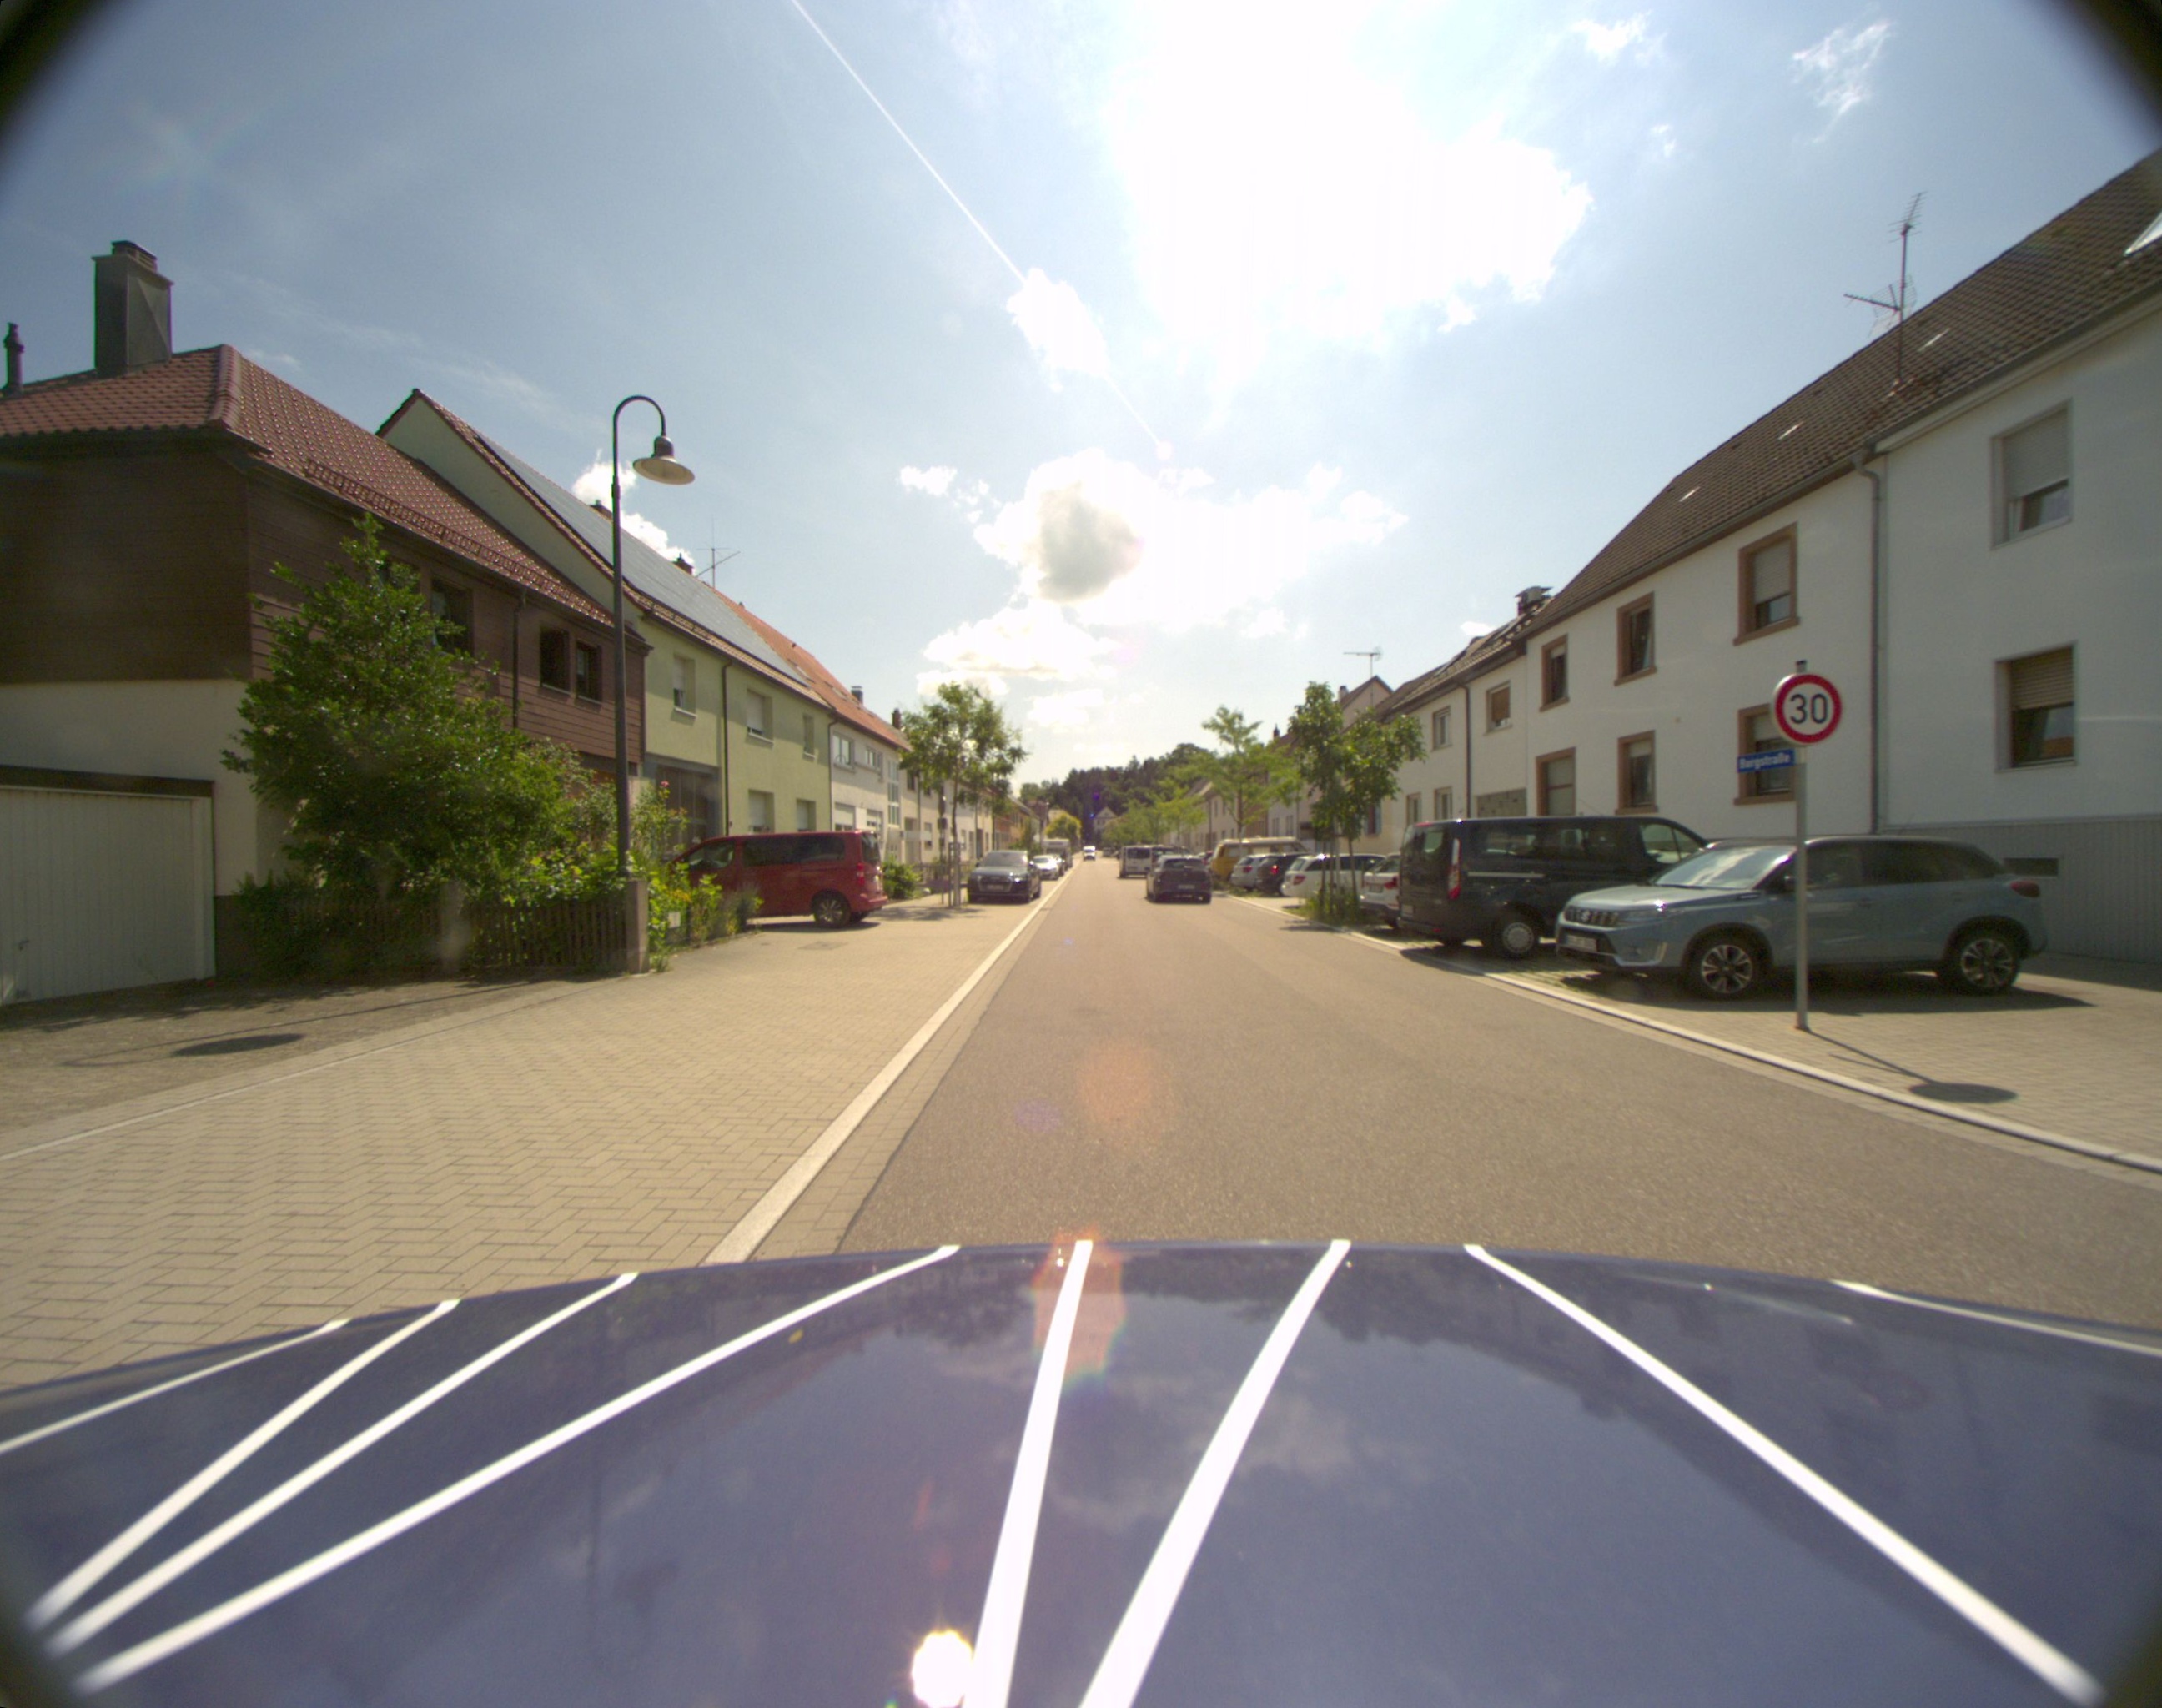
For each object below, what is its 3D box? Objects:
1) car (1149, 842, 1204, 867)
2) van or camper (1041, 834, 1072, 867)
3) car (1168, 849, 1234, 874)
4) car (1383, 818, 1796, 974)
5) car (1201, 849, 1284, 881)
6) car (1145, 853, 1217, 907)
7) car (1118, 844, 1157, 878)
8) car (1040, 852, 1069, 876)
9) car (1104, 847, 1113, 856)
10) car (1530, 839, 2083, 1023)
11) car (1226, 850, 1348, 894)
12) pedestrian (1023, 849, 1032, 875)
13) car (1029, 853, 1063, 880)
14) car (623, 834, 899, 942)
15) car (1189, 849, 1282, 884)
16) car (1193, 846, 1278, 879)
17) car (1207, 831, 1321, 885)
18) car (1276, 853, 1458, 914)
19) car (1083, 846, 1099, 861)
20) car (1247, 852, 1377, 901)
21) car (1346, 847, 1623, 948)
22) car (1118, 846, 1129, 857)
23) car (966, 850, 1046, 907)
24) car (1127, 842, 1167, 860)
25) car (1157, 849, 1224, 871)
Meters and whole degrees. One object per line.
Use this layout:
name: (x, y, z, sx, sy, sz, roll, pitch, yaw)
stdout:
car: (8.325, 0.031, 66.868, 4.623, 1.985, 1.953, -2, 1, 3)
van or camper: (-2.088, -0.279, 67.460, 2.479, 2.794, 5.790, 0, 0, 1)
car: (7.946, 0.492, 50.571, 4.064, 1.469, 1.775, -2, 1, -2)
car: (7.192, 0.548, 11.139, 4.711, 1.912, 1.937, -2, 1, 1)
car: (8.163, 0.537, 38.624, 3.801, 1.451, 1.755, -2, 1, -2)
car: (3.126, 0.768, 24.411, 1.767, 1.514, 4.048, 1, 1, 0)
car: (3.396, 0.385, 46.824, 2.028, 1.939, 4.897, 0, 1, 0)
car: (-1.779, 0.657, 52.392, 1.771, 1.521, 4.007, -1, 1, 1)
car: (6.573, -0.625, 182.424, 1.998, 1.968, 3.999, -1, 1, 0)
car: (7.448, 0.723, 8.141, 4.185, 1.610, 1.772, -2, 1, 1)
car: (7.755, 0.653, 28.827, 4.084, 1.459, 1.752, -2, 1, -7)
pedestrian: (-3.544, 0.511, 50.310, 0.558, 1.739, 0.673, 0, 2, 2)
car: (-2.042, 0.693, 44.942, 1.837, 1.457, 4.518, -1, 1, -1)
car: (-6.277, 0.612, 15.362, 4.630, 1.883, 2.020, -2, 2, 0)
car: (7.220, 0.573, 35.771, 4.020, 1.451, 1.755, -2, 1, 1)
car: (8.364, 0.431, 41.386, 4.264, 1.602, 1.842, -2, 1, 0)
car: (7.984, 0.161, 33.434, 4.519, 2.165, 1.925, -2, 1, 1)
car: (7.704, 0.773, 20.770, 4.305, 1.459, 1.774, -2, 1, 3)
car: (1.671, -0.151, 130.037, 2.489, 2.306, 5.599, -2, 1, 0)
car: (7.831, 0.722, 25.936, 3.891, 1.459, 1.657, -2, 1, -7)
car: (7.330, 0.741, 14.067, 4.194, 1.560, 1.773, -2, 1, -3)
car: (7.789, -0.428, 138.094, 1.844, 1.737, 4.687, -2, 0, 2)
car: (-2.316, 0.713, 24.563, 1.868, 1.626, 4.447, 2, 0, 3)
car: (9.055, -0.389, 104.390, 5.180, 2.275, 2.157, -2, 1, -1)
car: (7.856, 0.445, 54.557, 4.535, 1.417, 1.795, -2, 1, 1)
